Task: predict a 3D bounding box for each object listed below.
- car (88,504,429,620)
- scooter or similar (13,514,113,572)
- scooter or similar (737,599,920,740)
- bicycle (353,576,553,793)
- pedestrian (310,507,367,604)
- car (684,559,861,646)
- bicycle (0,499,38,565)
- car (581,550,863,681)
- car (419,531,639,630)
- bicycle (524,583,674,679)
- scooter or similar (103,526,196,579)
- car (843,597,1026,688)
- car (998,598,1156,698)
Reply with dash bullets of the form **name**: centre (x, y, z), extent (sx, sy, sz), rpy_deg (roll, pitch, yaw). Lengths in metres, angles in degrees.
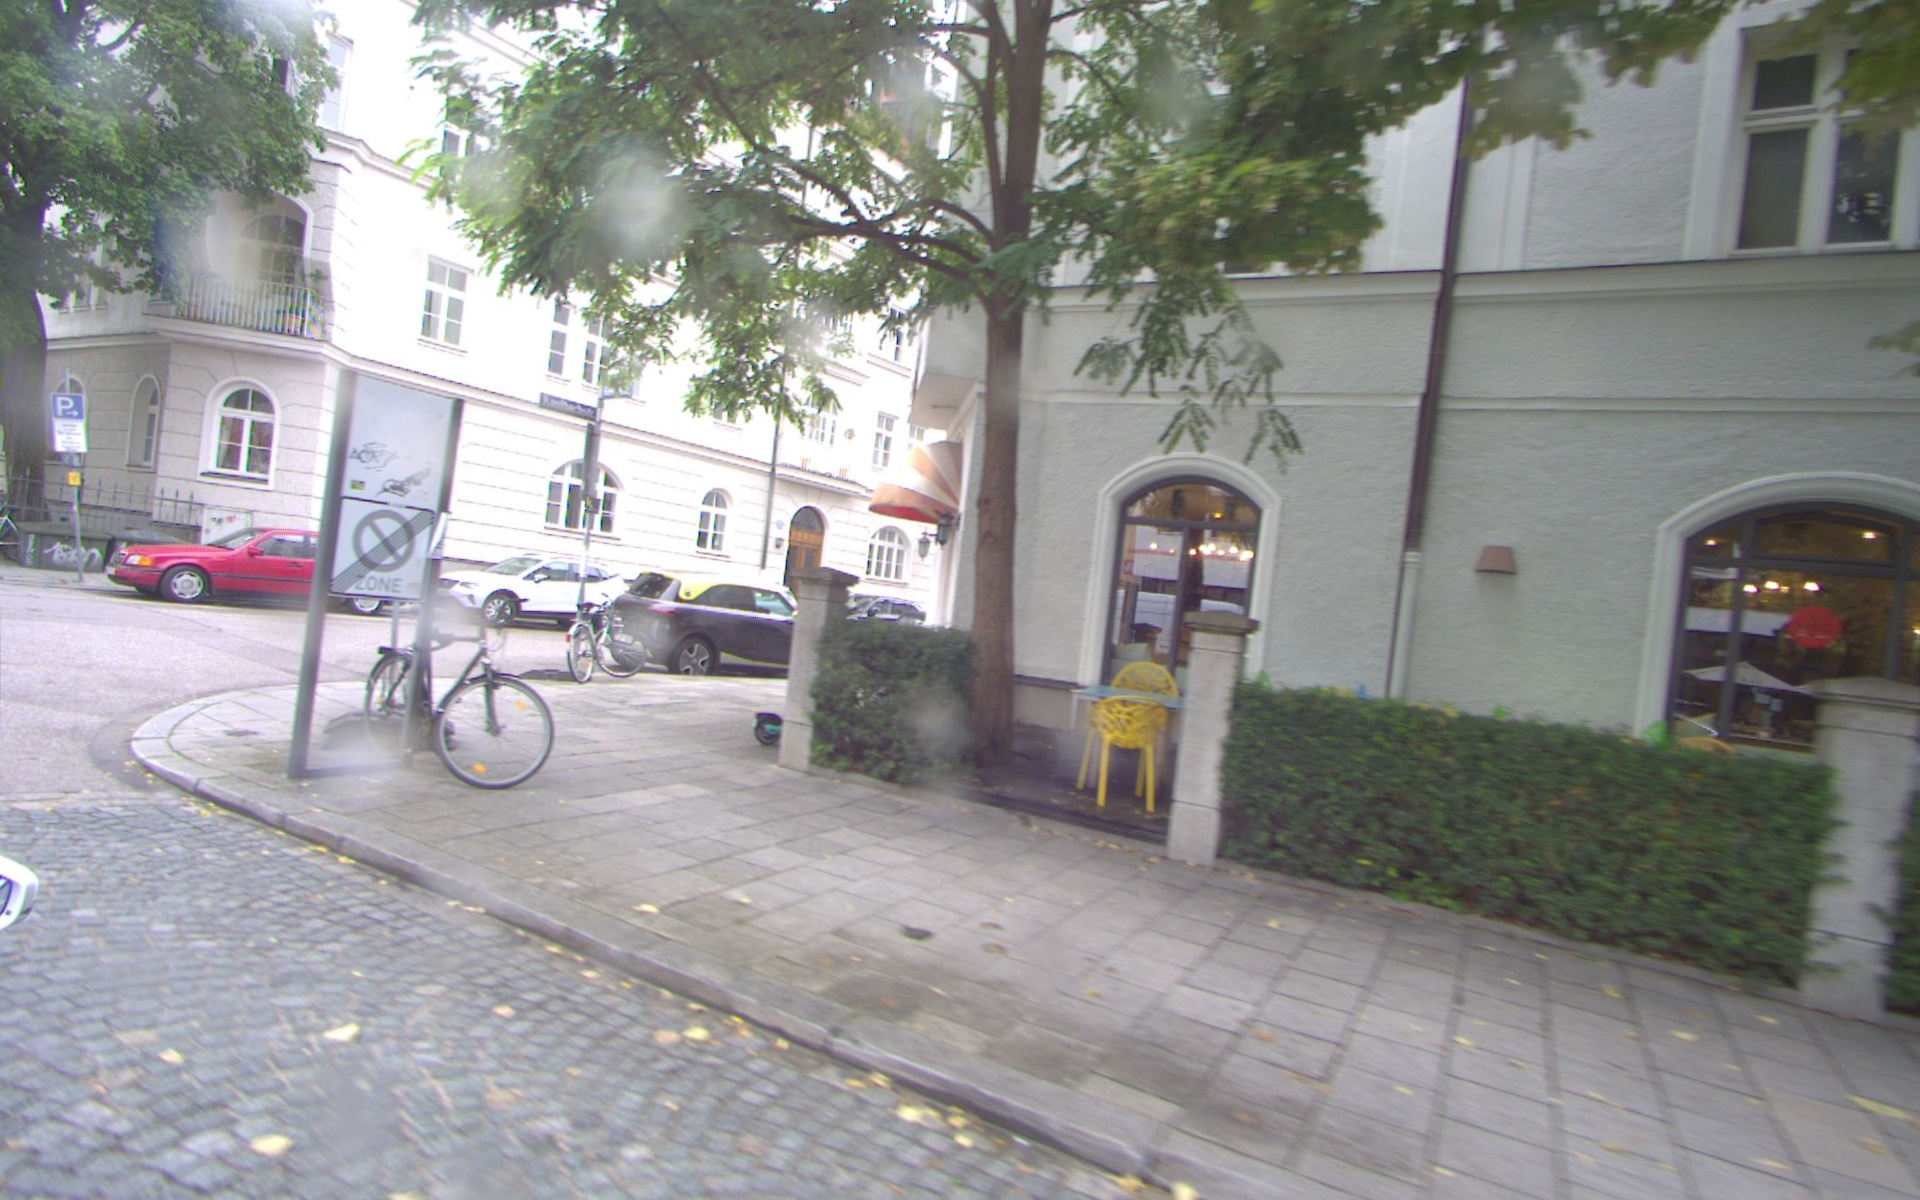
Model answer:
- **car**: centre (-11.951, -0.588, 17.440), extent (1.733, 1.374, 4.468), rpy_deg (7, 0, 36)
- **scooter or similar**: centre (-16.545, -1.049, 18.557), extent (0.911, 0.858, 1.183), rpy_deg (7, -1, 39)
- **scooter or similar**: centre (-1.177, 0.661, 9.240), extent (1.594, 1.187, 0.401), rpy_deg (5, 1, -38)
- **bicycle**: centre (-3.311, 0.502, 6.507), extent (1.565, 1.161, 0.388), rpy_deg (7, 0, 36)
- **pedestrian**: centre (-12.793, -0.908, 20.704), extent (0.729, 1.898, 0.495), rpy_deg (7, 0, 24)
- **car**: centre (-4.858, 0.106, 26.577), extent (1.727, 1.732, 4.325), rpy_deg (7, -1, 40)
- **bicycle**: centre (-17.917, -1.324, 18.104), extent (0.554, 1.138, 1.836), rpy_deg (8, 0, 39)
- **car**: centre (-3.732, 0.324, 16.374), extent (1.877, 1.616, 4.074), rpy_deg (7, -1, 38)
- **car**: centre (-8.879, -0.356, 21.018), extent (1.541, 1.539, 3.889), rpy_deg (7, -1, 34)
- **bicycle**: centre (-4.412, 0.396, 12.401), extent (0.727, 1.082, 1.602), rpy_deg (3, -1, 32)
- **scooter or similar**: centre (-15.796, -0.923, 19.623), extent (0.686, 0.835, 1.237), rpy_deg (7, -1, 38)
- **car**: centre (-0.437, 0.897, 20.403), extent (1.677, 1.442, 3.526), rpy_deg (7, -1, 40)
- **car**: centre (2.898, 1.204, 24.324), extent (1.749, 1.992, 3.917), rpy_deg (7, -1, 40)
